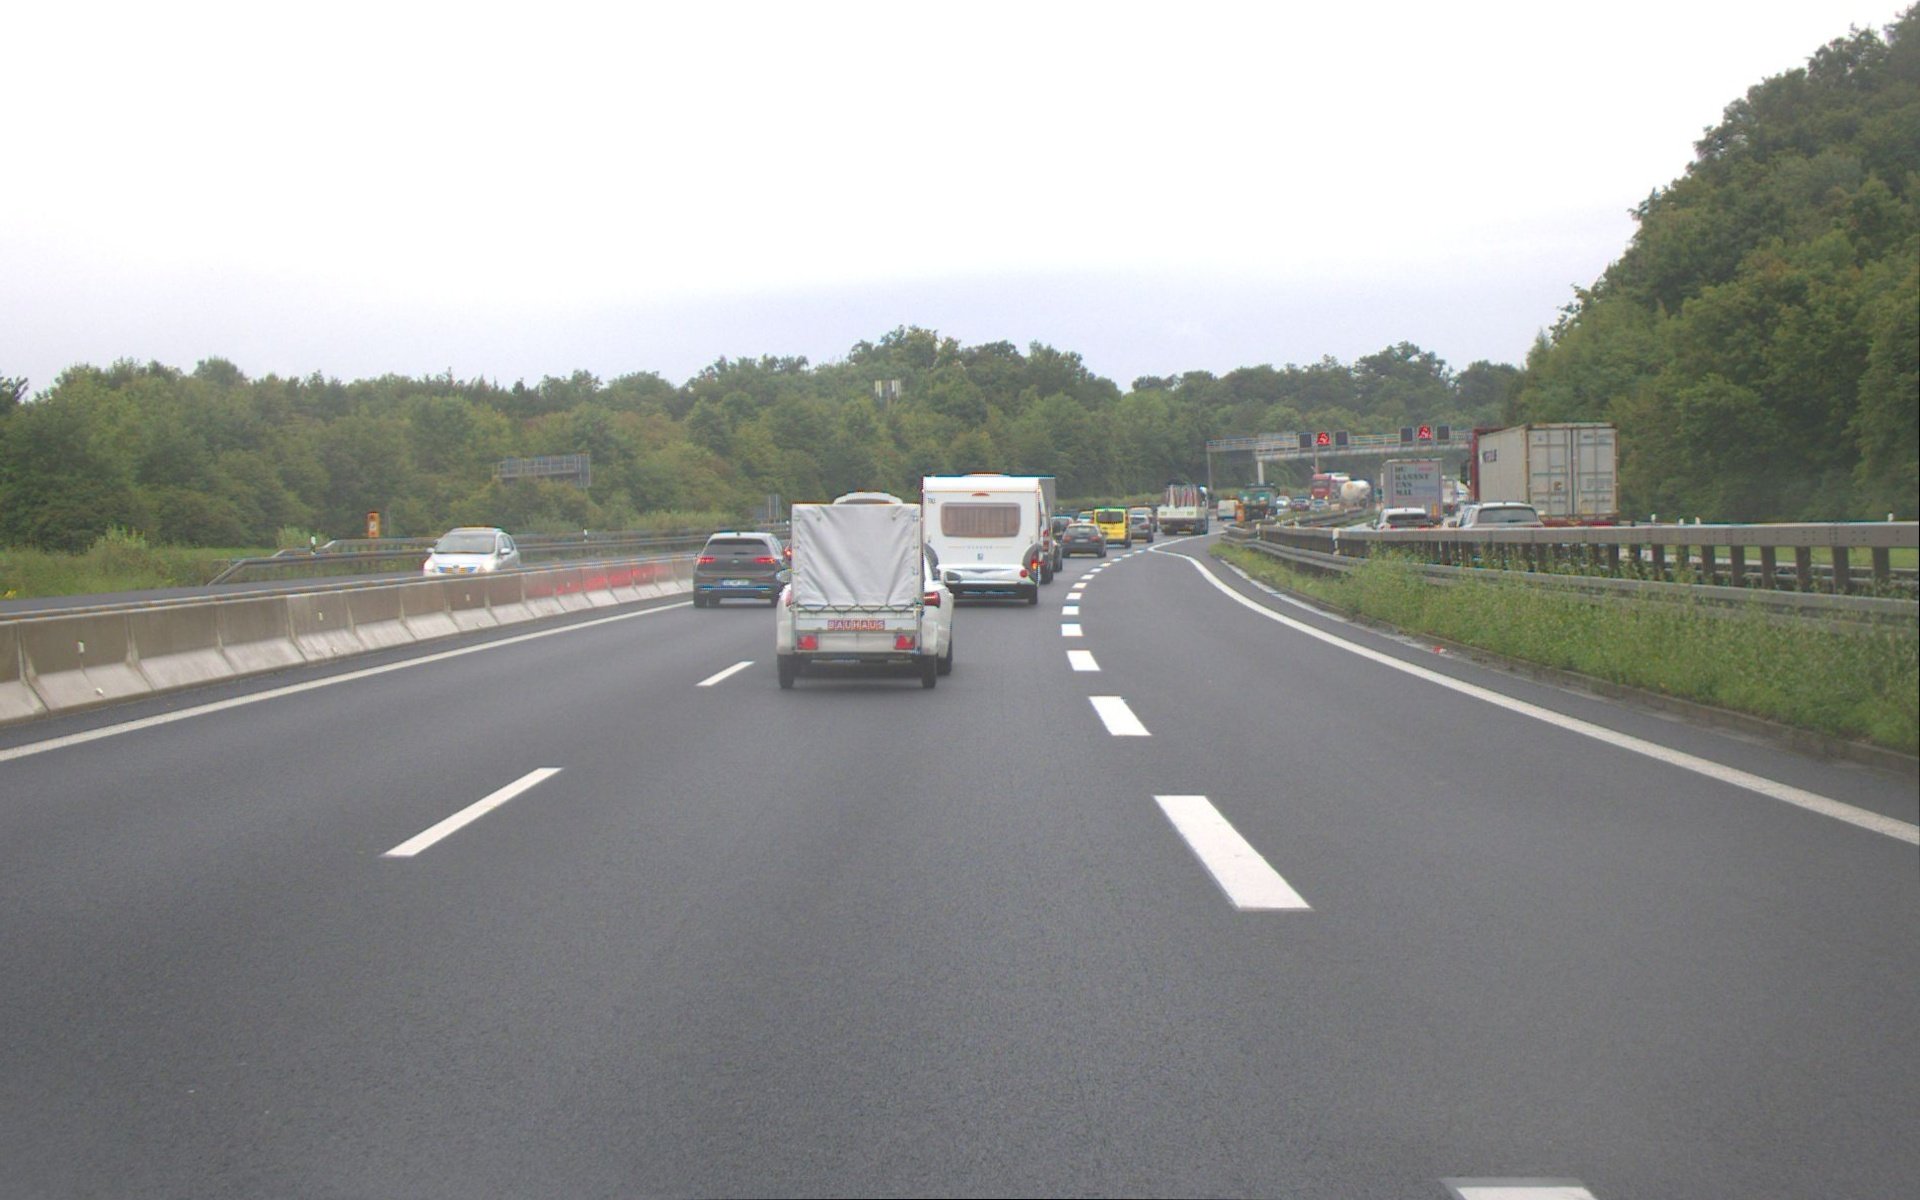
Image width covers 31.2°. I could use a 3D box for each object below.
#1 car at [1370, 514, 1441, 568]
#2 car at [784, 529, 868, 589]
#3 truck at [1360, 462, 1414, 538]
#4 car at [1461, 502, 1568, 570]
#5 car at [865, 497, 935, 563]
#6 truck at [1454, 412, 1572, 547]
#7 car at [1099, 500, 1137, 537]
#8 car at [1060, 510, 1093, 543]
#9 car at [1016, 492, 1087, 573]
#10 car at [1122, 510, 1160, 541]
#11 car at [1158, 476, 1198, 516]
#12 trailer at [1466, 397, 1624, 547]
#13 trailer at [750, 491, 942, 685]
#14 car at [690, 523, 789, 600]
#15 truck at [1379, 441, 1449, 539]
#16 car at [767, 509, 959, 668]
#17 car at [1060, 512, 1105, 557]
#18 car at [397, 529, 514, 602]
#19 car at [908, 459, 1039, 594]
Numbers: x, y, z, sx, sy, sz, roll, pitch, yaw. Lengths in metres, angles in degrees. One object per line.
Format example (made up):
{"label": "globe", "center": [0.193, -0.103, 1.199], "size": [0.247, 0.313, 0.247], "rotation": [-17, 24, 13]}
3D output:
{"label": "car", "center": [13.516, -1.783, 104.435], "size": [1.770, 1.604, 4.643], "rotation": [-1, 1, 3]}
{"label": "car", "center": [-3.318, -1.025, 85.740], "size": [1.765, 1.451, 4.000], "rotation": [-1, 1, 2]}
{"label": "truck", "center": [27.215, -6.289, 218.640], "size": [3.216, 4.650, 13.029], "rotation": [-1, 1, 8]}
{"label": "car", "center": [12.127, -1.404, 75.404], "size": [1.667, 1.378, 4.126], "rotation": [-3, 1, 1]}
{"label": "car", "center": [-1.801, -2.098, 103.908], "size": [1.993, 1.912, 4.000], "rotation": [-1, 1, 1]}
{"label": "truck", "center": [16.506, -3.552, 102.955], "size": [2.616, 3.871, 6.392], "rotation": [-1, 1, 2]}
{"label": "car", "center": [7.921, -4.062, 172.063], "size": [1.676, 1.806, 3.999], "rotation": [-1, 1, 5]}
{"label": "car", "center": [7.368, -4.644, 217.052], "size": [1.994, 2.007, 4.000], "rotation": [-1, 1, 3]}
{"label": "car", "center": [2.445, -1.782, 91.287], "size": [1.676, 2.060, 3.999], "rotation": [-1, 1, 4]}
{"label": "car", "center": [10.189, -4.158, 193.129], "size": [2.038, 1.677, 4.000], "rotation": [-1, 1, 4]}
{"label": "car", "center": [14.436, -6.860, 227.623], "size": [2.516, 2.566, 5.311], "rotation": [-1, 1, 4]}
{"label": "trailer", "center": [16.297, -3.462, 96.580], "size": [2.604, 3.881, 12.490], "rotation": [-1, 1, 2]}
{"label": "trailer", "center": [-1.086, -0.140, 34.463], "size": [1.676, 1.806, 4.000], "rotation": [-1, 1, 1]}
{"label": "car", "center": [-4.312, -0.759, 67.669], "size": [1.676, 1.451, 4.000], "rotation": [-1, 1, 0]}
{"label": "truck", "center": [22.555, -5.381, 171.384], "size": [3.216, 4.650, 13.029], "rotation": [-1, 1, 7]}
{"label": "car", "center": [-1.005, -0.151, 37.791], "size": [1.818, 1.610, 4.778], "rotation": [-1, 1, 2]}
{"label": "car", "center": [5.036, -2.685, 142.015], "size": [1.676, 1.806, 4.000], "rotation": [-1, 1, 0]}
{"label": "car", "center": [-12.169, -0.852, 83.235], "size": [1.994, 1.705, 4.303], "rotation": [-1, 1, 3]}
{"label": "car", "center": [0.331, -1.456, 69.379], "size": [2.507, 2.576, 5.699], "rotation": [-1, 1, 1]}
